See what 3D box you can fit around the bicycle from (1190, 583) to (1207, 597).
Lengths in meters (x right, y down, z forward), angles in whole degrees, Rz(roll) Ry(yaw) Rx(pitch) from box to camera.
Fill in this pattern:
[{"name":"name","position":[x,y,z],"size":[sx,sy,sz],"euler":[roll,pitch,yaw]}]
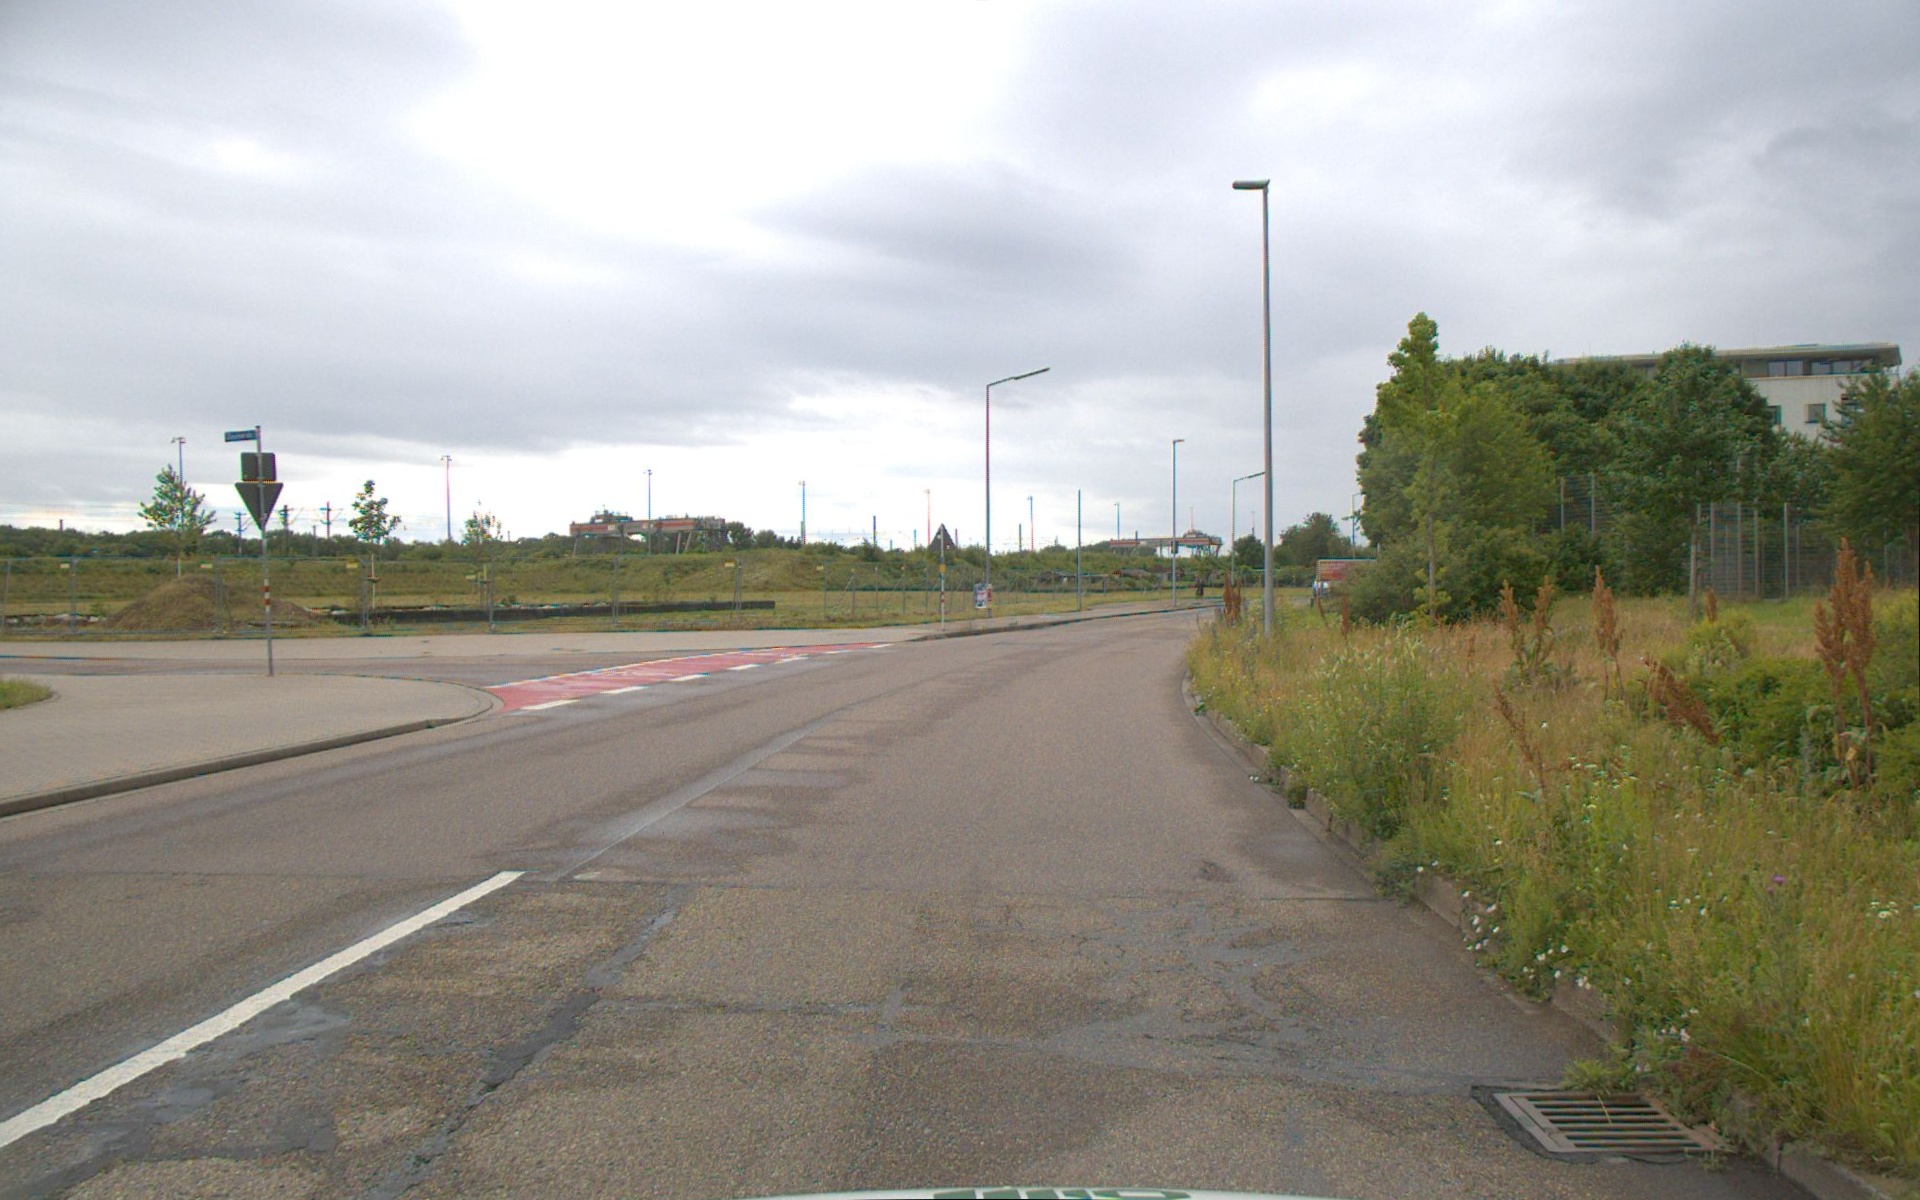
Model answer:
[{"name":"bicycle","position":[16.617,-0.677,115.314],"size":[0.786,0.923,2.234],"euler":[0,1,18]}]

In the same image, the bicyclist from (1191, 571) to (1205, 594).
[{"name":"bicyclist","position":[16.597,-1.239,115.289],"size":[0.765,1.553,1.094],"euler":[0,1,17]}]

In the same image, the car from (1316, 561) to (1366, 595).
[{"name":"car","position":[30.653,-1.808,132.948],"size":[2.245,2.600,6.401],"euler":[-1,1,29]}]
